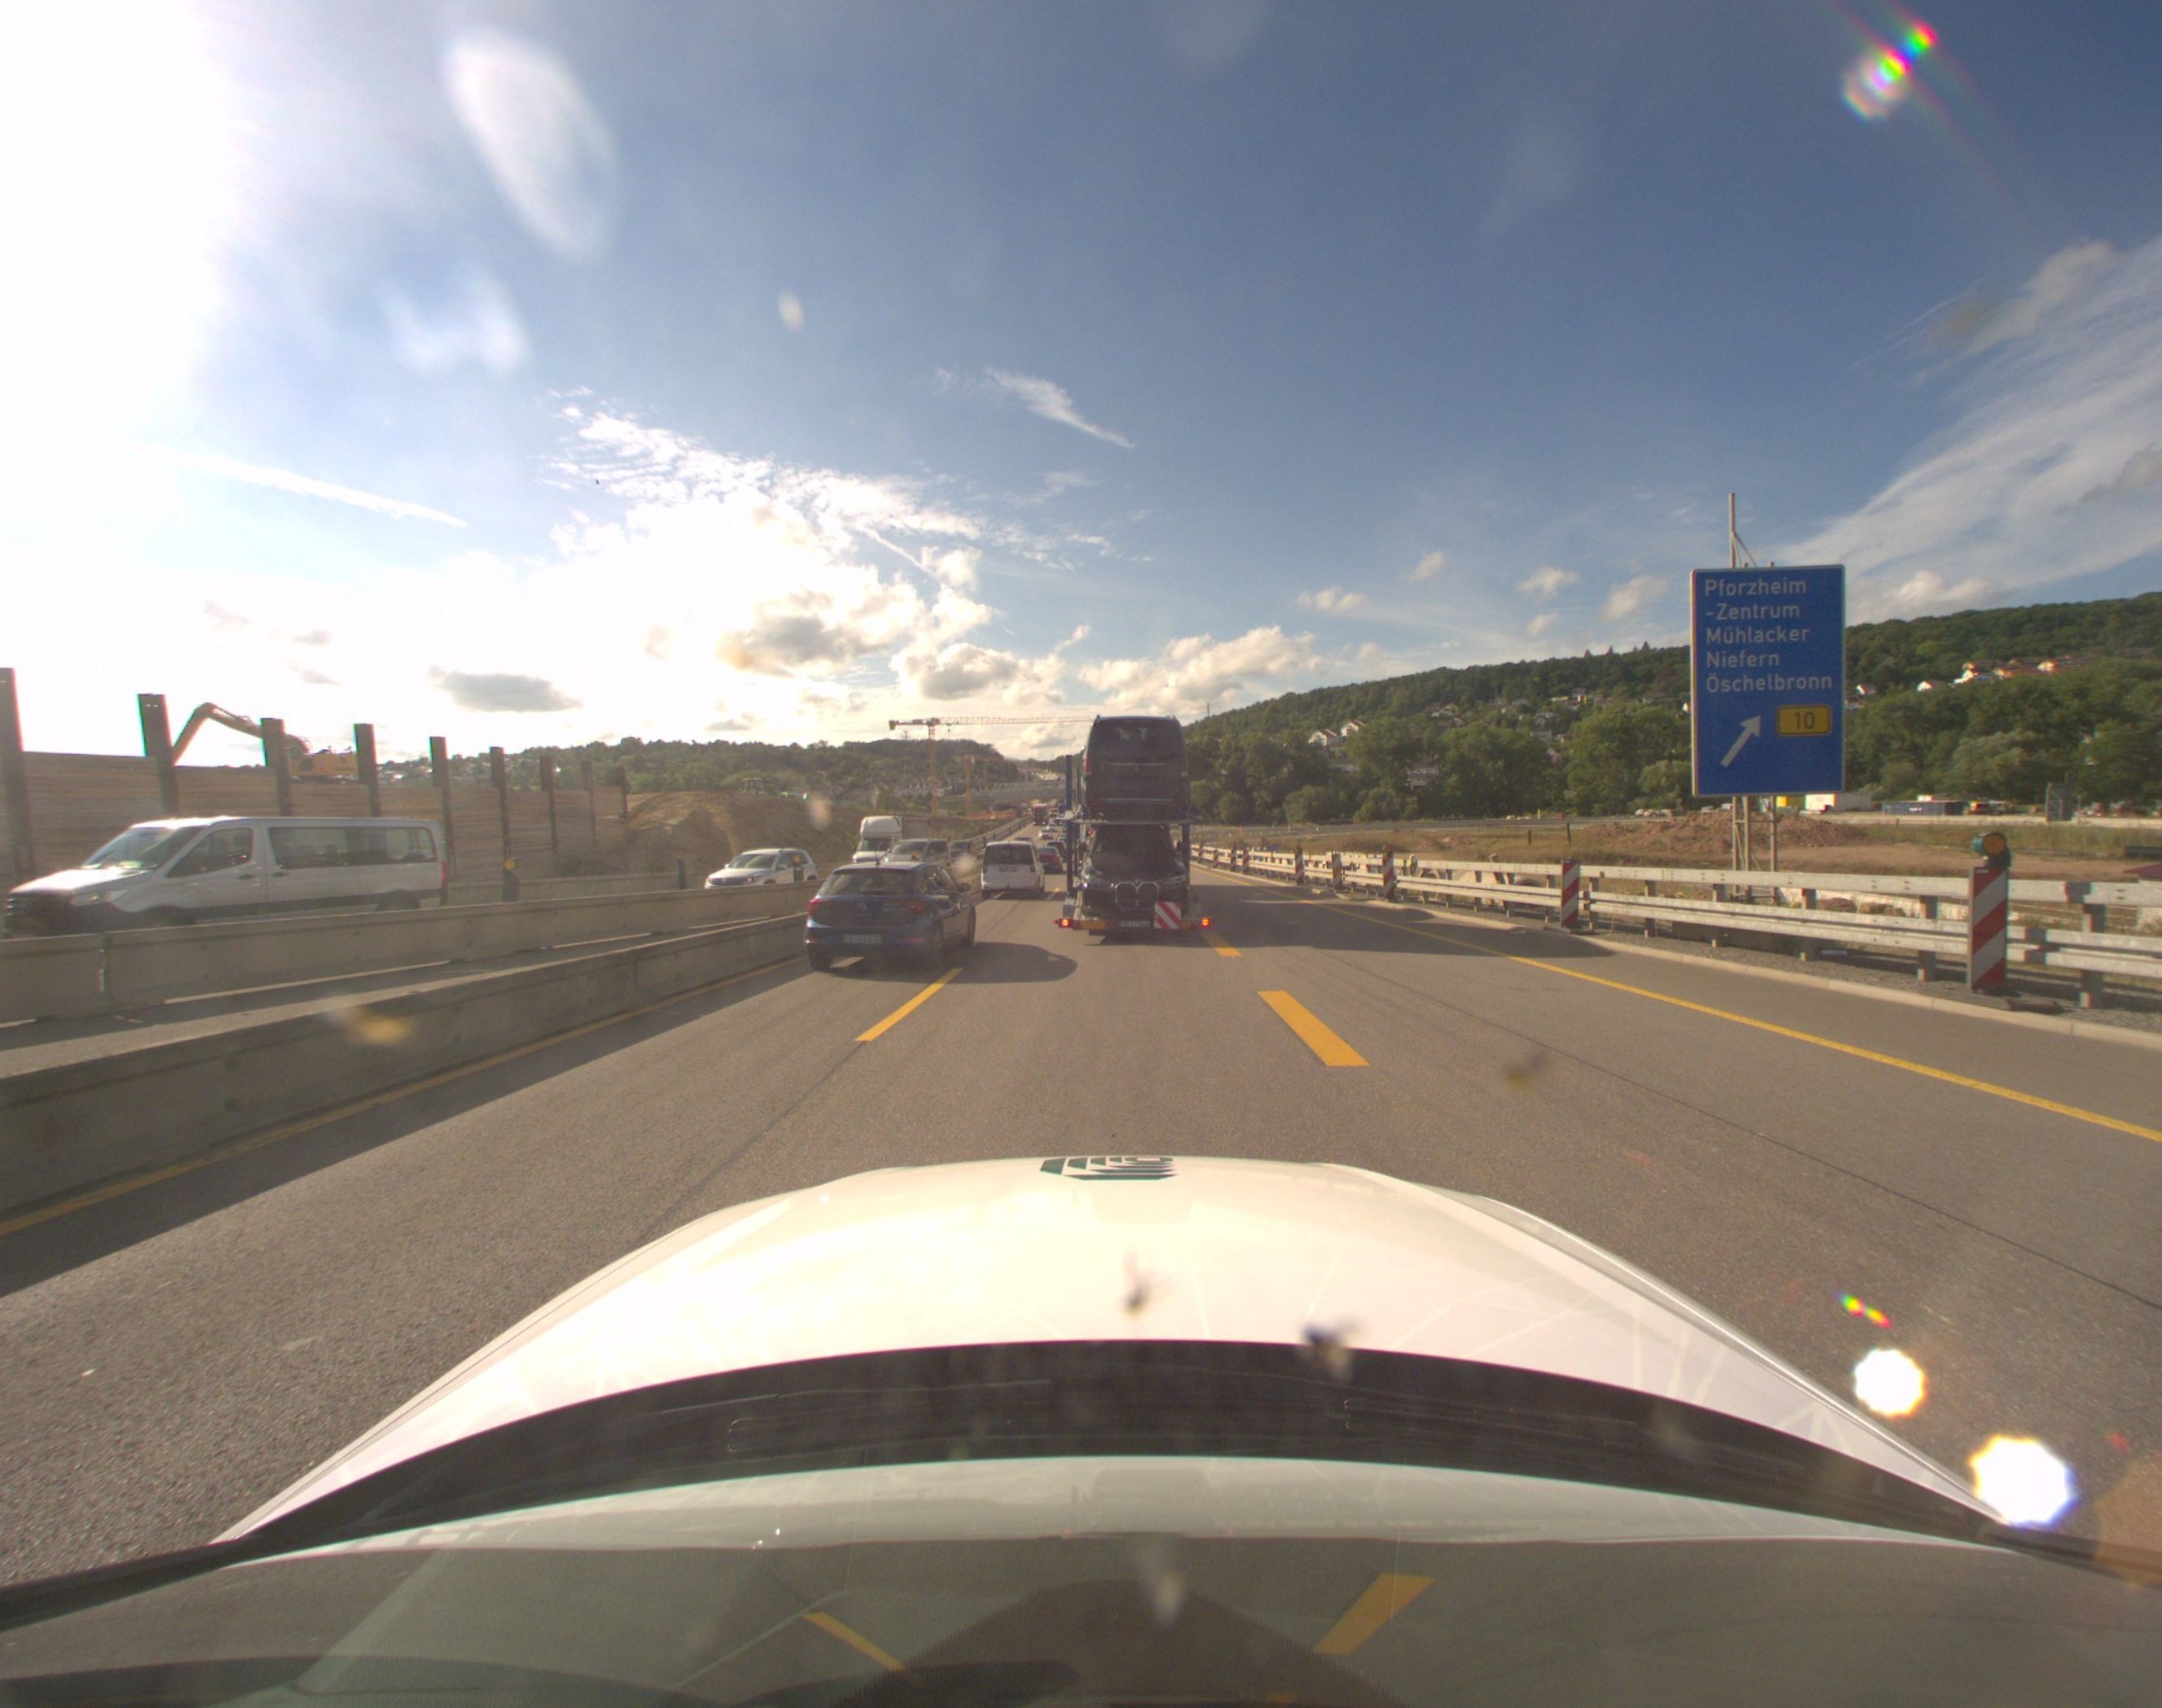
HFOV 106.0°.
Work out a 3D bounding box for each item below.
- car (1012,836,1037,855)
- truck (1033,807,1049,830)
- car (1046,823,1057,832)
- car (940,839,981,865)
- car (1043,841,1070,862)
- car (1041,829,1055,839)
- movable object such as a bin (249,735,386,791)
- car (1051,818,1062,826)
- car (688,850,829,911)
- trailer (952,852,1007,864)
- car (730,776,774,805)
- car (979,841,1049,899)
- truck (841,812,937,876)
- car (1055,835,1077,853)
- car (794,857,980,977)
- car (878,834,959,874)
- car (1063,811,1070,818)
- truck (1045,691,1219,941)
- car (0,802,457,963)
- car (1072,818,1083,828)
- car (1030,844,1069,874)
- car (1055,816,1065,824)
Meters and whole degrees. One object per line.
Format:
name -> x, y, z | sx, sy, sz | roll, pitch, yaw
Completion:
car -> -5.032, -0.761, 73.337 | 1.846, 1.635, 4.749 | 0, 1, 0
truck -> -8.030, -7.147, 163.929 | 2.907, 4.386, 6.282 | 1, 1, -2
car -> -4.993, -4.455, 139.326 | 1.749, 1.439, 3.803 | -1, 1, -1
car -> -8.875, -0.120, 60.210 | 1.984, 1.804, 4.451 | 0, -1, 5
car -> -1.807, -0.179, 61.671 | 1.987, 1.552, 3.998 | 0, -1, -1
car -> -4.755, -2.830, 116.781 | 1.847, 1.439, 4.557 | -1, 1, -1
movable object such as a bin -> -53.736, -6.333, 57.441 | 5.707, 3.270, 4.526 | -1, -1, 12
car -> -4.901, -6.288, 161.646 | 1.814, 1.439, 4.616 | 0, 1, 2
car -> -9.755, 0.728, 25.079 | 2.113, 1.674, 4.283 | 0, 1, 9
trailer -> -8.217, 0.364, 67.549 | 2.340, 0.940, 10.344 | 0, -1, 5
car -> -32.440, -6.229, 80.424 | 1.987, 2.140, 5.321 | -5, -1, 0
car -> -2.136, 0.509, 27.071 | 1.816, 1.792, 4.002 | 0, -1, 2
truck -> -10.647, -0.499, 46.047 | 2.685, 3.311, 7.554 | 0, -1, 8
car -> -1.440, -0.955, 79.361 | 1.986, 1.666, 4.002 | 0, 0, 2
car -> -2.650, 0.791, 12.089 | 1.716, 1.422, 4.001 | 0, 0, 1
car -> -7.616, -0.050, 38.794 | 2.113, 1.765, 5.044 | 0, 1, 9
car -> -3.891, -10.567, 216.016 | 1.839, 1.648, 4.235 | -1, 1, -1
truck -> 1.083, -0.628, 22.442 | 2.743, 3.954, 18.896 | 1, 0, 2
car -> -15.407, 0.459, 15.248 | 2.244, 2.402, 5.884 | -1, -1, 11
car -> -0.647, -5.698, 151.079 | 1.839, 1.648, 4.502 | -1, 1, -2
car -> -1.720, 0.285, 45.269 | 1.987, 1.556, 4.400 | 0, -1, 0
car -> -4.670, -7.488, 180.116 | 1.837, 1.648, 4.508 | 0, 1, 2
